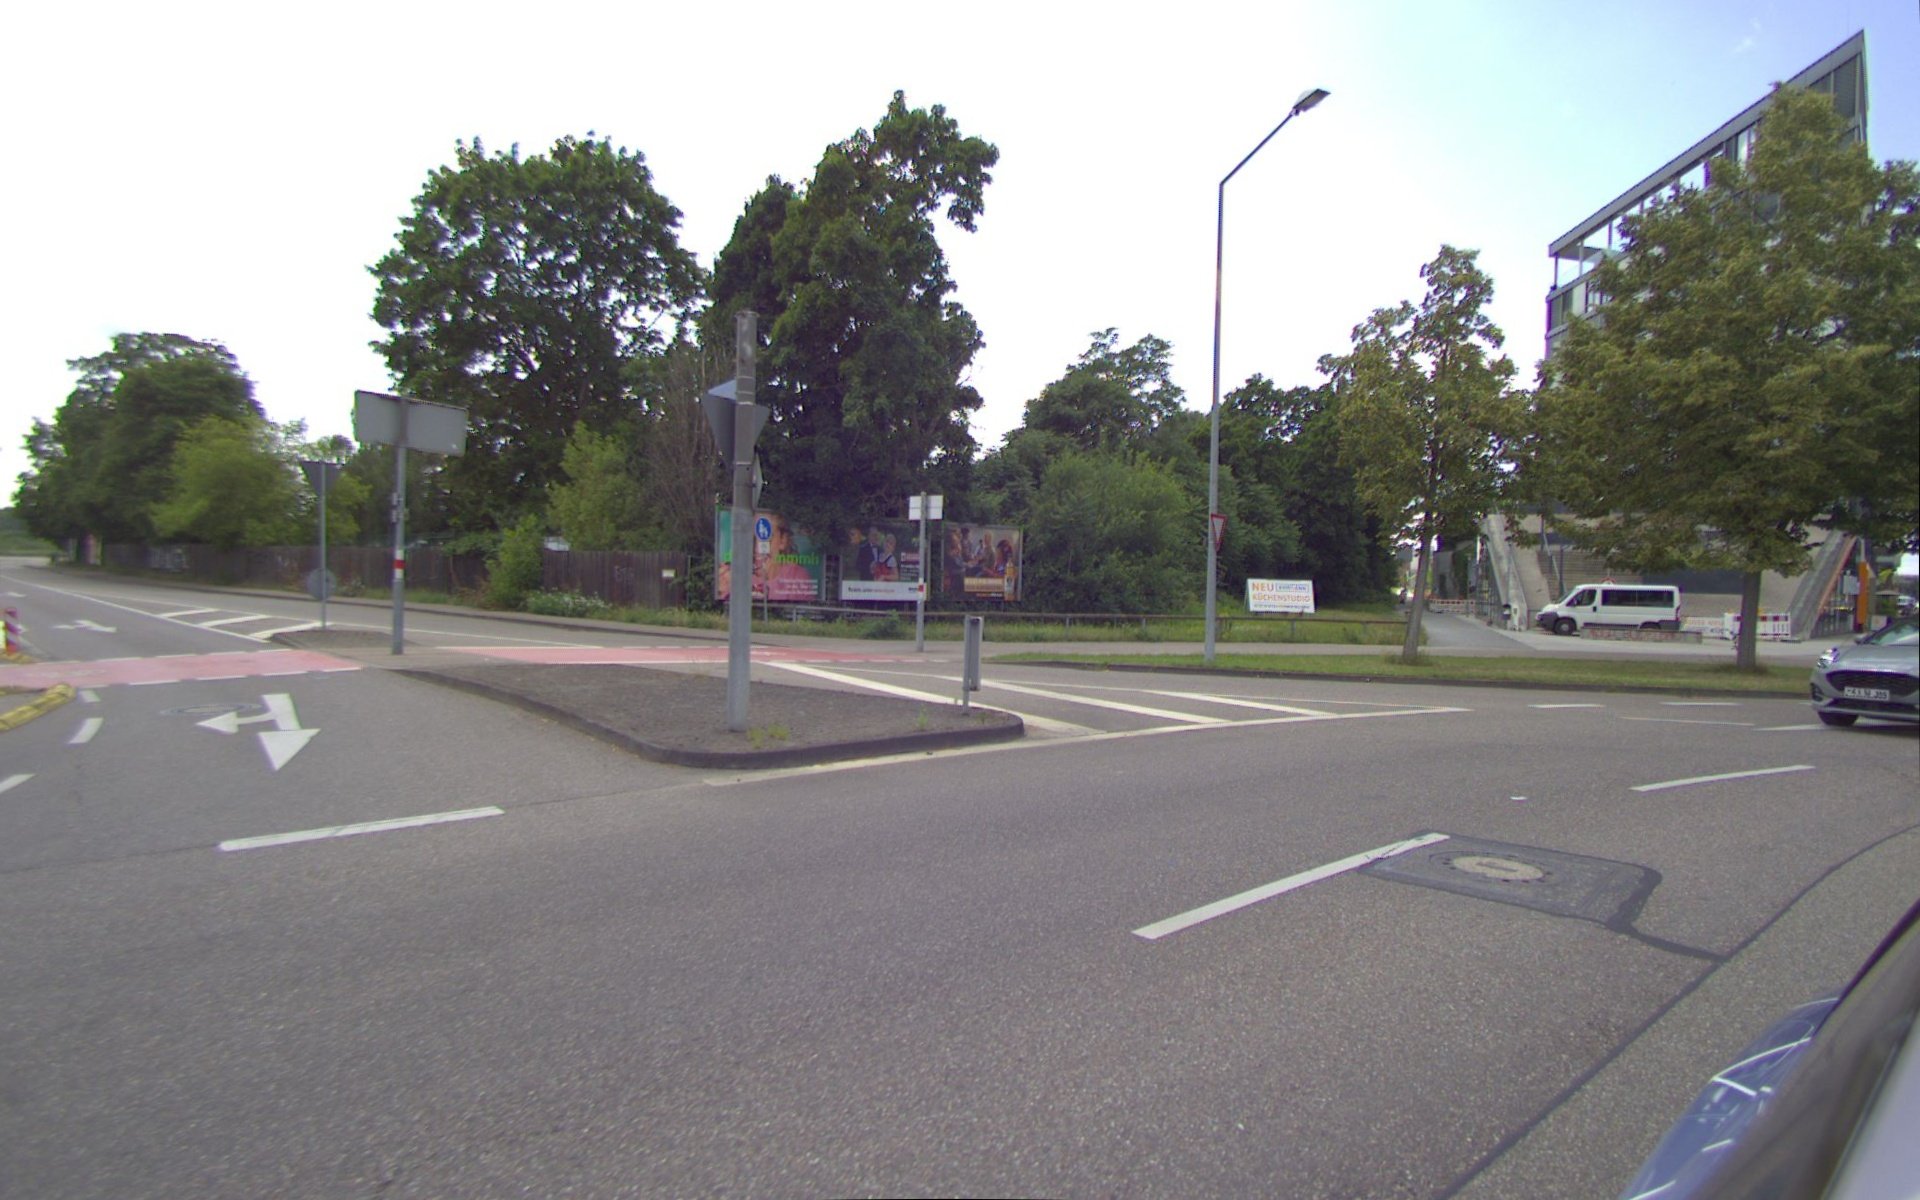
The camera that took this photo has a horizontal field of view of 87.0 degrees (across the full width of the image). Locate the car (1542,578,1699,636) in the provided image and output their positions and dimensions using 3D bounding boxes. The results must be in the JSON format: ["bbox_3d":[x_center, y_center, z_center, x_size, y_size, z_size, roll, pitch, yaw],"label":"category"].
[{"bbox_3d":[27.187,0.244,41.887,5.097,2.174,2.131,2,1,25],"label":"car"}]

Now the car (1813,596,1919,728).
[{"bbox_3d":[12.819,0.741,12.564,4.006,1.489,1.679,1,1,-21],"label":"car"}]
